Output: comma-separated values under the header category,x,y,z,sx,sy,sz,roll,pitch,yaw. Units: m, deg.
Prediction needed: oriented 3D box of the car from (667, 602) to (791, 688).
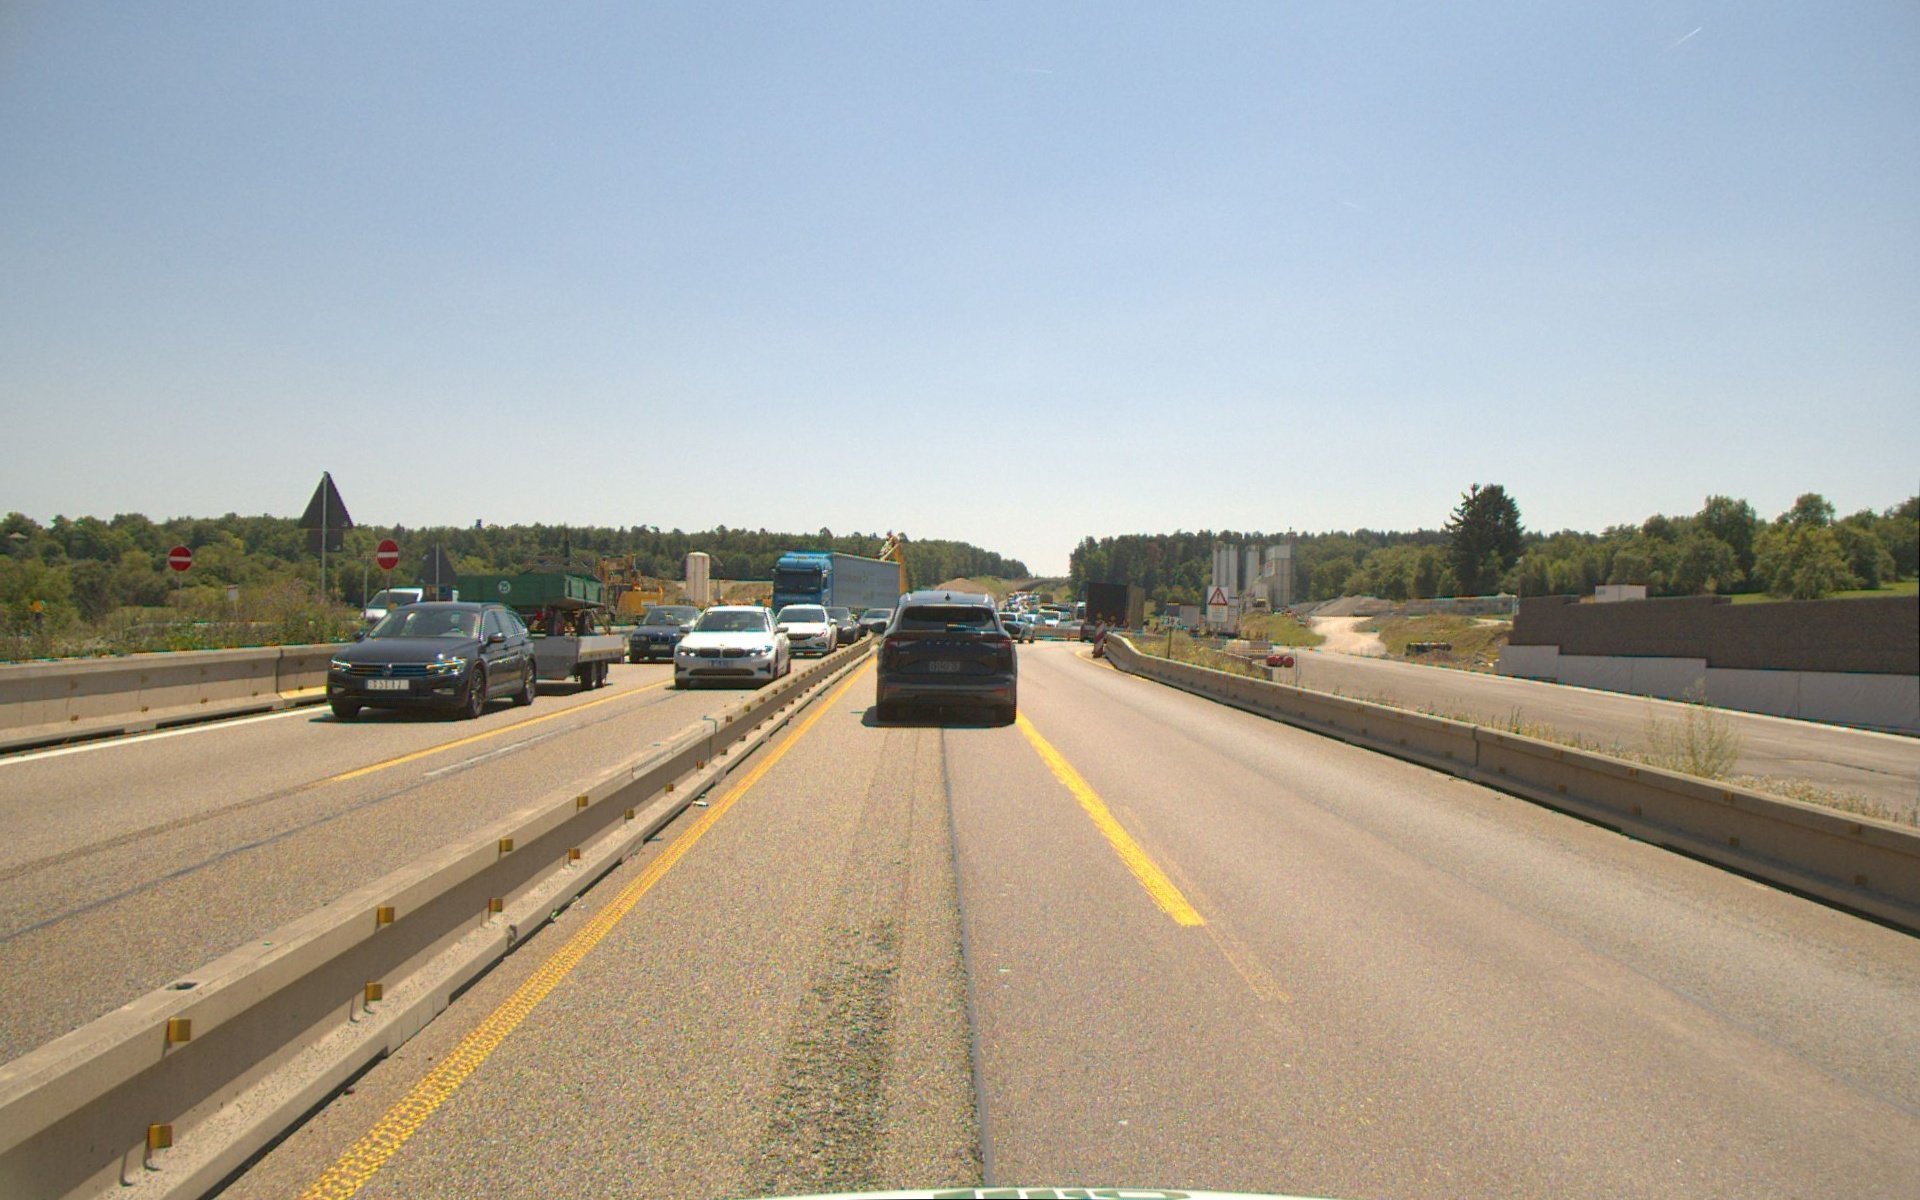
category,x,y,z,sx,sy,sz,roll,pitch,yaw
car,-4.180,0.779,30.524,1.780,1.400,4.246,1,0,-2

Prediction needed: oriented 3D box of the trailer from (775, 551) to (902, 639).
category,x,y,z,sx,sy,sz,roll,pitch,yaw
trailer,-6.119,-0.218,86.944,2.852,4.201,13.928,1,0,12

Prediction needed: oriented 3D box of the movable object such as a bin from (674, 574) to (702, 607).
category,x,y,z,sx,sy,sz,roll,pitch,yaw
movable object such as a bin,-27.884,-0.985,169.261,2.379,3.180,5.467,5,0,-11

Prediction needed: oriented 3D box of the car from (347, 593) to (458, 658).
category,x,y,z,sx,sy,sz,roll,pitch,yaw
car,-18.551,0.798,55.315,1.878,1.975,5.095,0,1,1

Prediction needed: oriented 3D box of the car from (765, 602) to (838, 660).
category,x,y,z,sx,sy,sz,roll,pitch,yaw
car,-4.526,0.844,47.786,1.699,1.504,4.519,-2,0,-1

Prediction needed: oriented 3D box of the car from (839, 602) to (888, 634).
category,x,y,z,sx,sy,sz,roll,pitch,yaw
car,-4.469,0.824,77.299,1.555,1.466,4.128,0,0,7

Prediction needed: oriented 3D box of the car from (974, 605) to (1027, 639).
category,x,y,z,sx,sy,sz,roll,pitch,yaw
car,1.998,1.046,80.344,2.002,1.553,5.070,1,0,8

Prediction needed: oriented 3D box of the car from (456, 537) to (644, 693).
category,x,y,z,sx,sy,sz,roll,pitch,yaw
car,-7.165,0.216,29.638,1.875,2.441,6.450,2,0,-2

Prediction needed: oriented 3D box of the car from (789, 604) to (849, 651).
category,x,y,z,sx,sy,sz,roll,pitch,yaw
car,-4.641,0.865,54.901,1.738,1.452,4.768,-1,0,-2

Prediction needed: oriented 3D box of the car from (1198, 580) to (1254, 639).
category,x,y,z,sx,sy,sz,roll,pitch,yaw
car,21.207,0.822,131.453,3.365,4.171,9.203,5,0,14

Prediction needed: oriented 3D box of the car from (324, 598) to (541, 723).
category,x,y,z,sx,sy,sz,roll,pitch,yaw
car,-6.968,0.736,22.308,1.653,1.478,4.334,0,1,-2

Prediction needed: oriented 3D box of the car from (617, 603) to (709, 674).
category,x,y,z,sx,sy,sz,roll,pitch,yaw
car,-7.536,0.942,42.254,1.731,1.625,3.999,0,1,-2

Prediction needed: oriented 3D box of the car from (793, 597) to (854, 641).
category,x,y,z,sx,sy,sz,roll,pitch,yaw
car,-4.989,0.659,60.903,1.975,1.469,4.586,0,1,-2

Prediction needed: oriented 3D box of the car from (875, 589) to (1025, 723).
category,x,y,z,sx,sy,sz,roll,pitch,yaw
car,-0.135,0.672,22.120,1.805,1.609,4.000,-1,0,0

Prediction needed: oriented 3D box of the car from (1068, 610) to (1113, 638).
category,x,y,z,sx,sy,sz,roll,pitch,yaw
car,8.168,1.510,103.474,1.783,1.673,3.866,2,-1,20

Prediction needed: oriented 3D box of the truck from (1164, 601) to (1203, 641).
category,x,y,z,sx,sy,sz,roll,pitch,yaw
truck,26.332,2.437,195.274,3.405,4.292,10.381,6,0,3

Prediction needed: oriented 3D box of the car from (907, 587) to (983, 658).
category,x,y,z,sx,sy,sz,roll,pitch,yaw
car,-0.395,0.633,47.869,1.952,1.876,4.001,2,0,2

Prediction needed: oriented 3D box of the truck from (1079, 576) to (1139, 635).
category,x,y,z,sx,sy,sz,roll,pitch,yaw
truck,8.100,0.340,89.370,2.616,2.997,5.624,1,-2,11

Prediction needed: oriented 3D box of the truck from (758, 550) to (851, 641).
category,x,y,z,sx,sy,sz,roll,pitch,yaw
truck,-7.469,-0.216,80.160,2.852,4.201,6.143,1,0,10

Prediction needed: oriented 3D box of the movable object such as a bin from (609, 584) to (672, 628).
category,x,y,z,sx,sy,sz,roll,pitch,yaw
movable object such as a bin,-21.956,0.413,113.725,2.854,2.774,3.313,4,0,-41
